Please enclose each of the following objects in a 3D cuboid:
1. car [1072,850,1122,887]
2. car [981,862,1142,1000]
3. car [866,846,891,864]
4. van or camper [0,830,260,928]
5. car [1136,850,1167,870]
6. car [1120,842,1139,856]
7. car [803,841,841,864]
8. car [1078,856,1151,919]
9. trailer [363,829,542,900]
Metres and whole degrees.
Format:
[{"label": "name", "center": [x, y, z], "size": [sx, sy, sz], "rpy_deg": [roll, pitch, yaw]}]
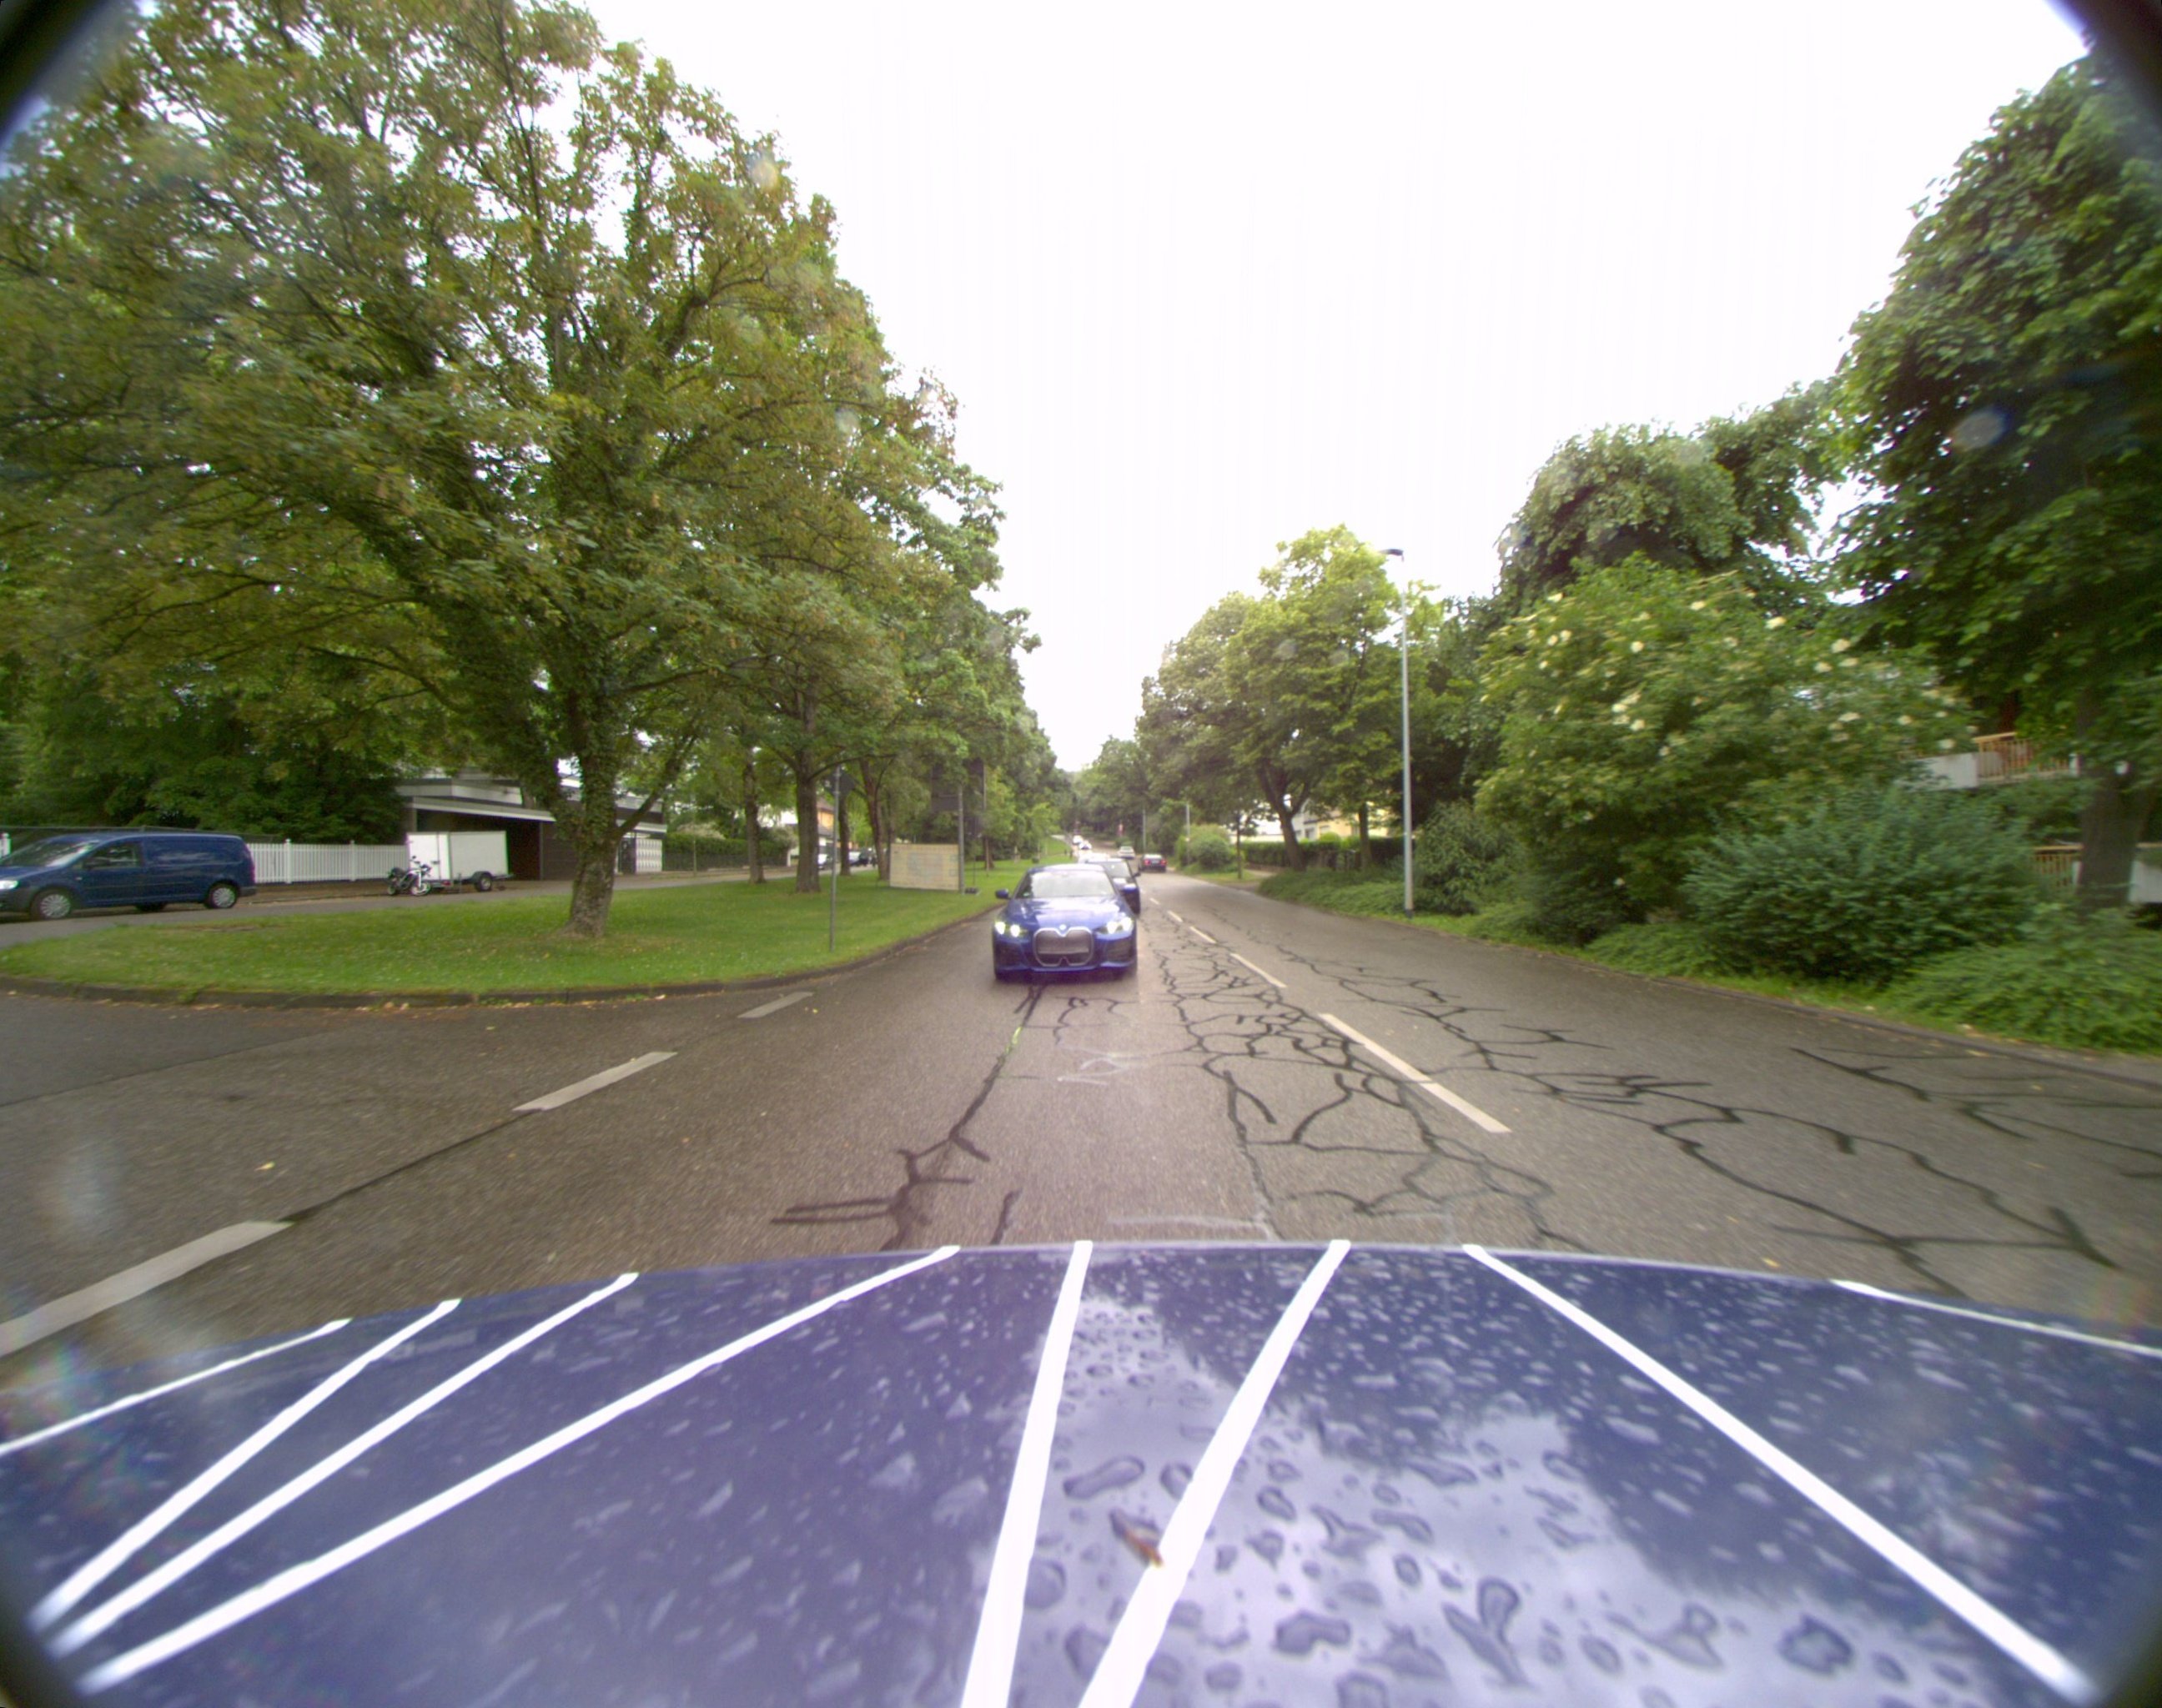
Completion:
[{"label": "car", "center": [0.765, 0.604, 33.715], "size": [2.031, 1.471, 4.068], "rpy_deg": [-2, 1, 3]}, {"label": "car", "center": [-0.210, 0.927, 10.951], "size": [1.826, 1.471, 4.067], "rpy_deg": [-2, 1, 0]}, {"label": "car", "center": [-24.399, 0.140, 91.643], "size": [1.999, 2.001, 4.001], "rpy_deg": [0, -2, -1]}, {"label": "van or camper", "center": [-20.990, 0.478, 16.149], "size": [1.999, 1.798, 4.773], "rpy_deg": [-2, 1, -4]}, {"label": "car", "center": [5.029, 0.394, 54.482], "size": [1.769, 1.341, 4.376], "rpy_deg": [1, 1, 0]}, {"label": "car", "center": [5.349, -0.598, 84.751], "size": [1.826, 1.471, 4.066], "rpy_deg": [0, 1, -1]}, {"label": "car", "center": [-23.098, -0.136, 67.796], "size": [1.998, 2.002, 4.000], "rpy_deg": [0, 1, 0]}, {"label": "car", "center": [0.876, 0.863, 21.488], "size": [1.826, 1.471, 4.067], "rpy_deg": [-2, 1, 0]}, {"label": "trailer", "center": [-21.106, 0.290, 25.877], "size": [1.771, 2.104, 5.191], "rpy_deg": [-2, 1, -2]}]
